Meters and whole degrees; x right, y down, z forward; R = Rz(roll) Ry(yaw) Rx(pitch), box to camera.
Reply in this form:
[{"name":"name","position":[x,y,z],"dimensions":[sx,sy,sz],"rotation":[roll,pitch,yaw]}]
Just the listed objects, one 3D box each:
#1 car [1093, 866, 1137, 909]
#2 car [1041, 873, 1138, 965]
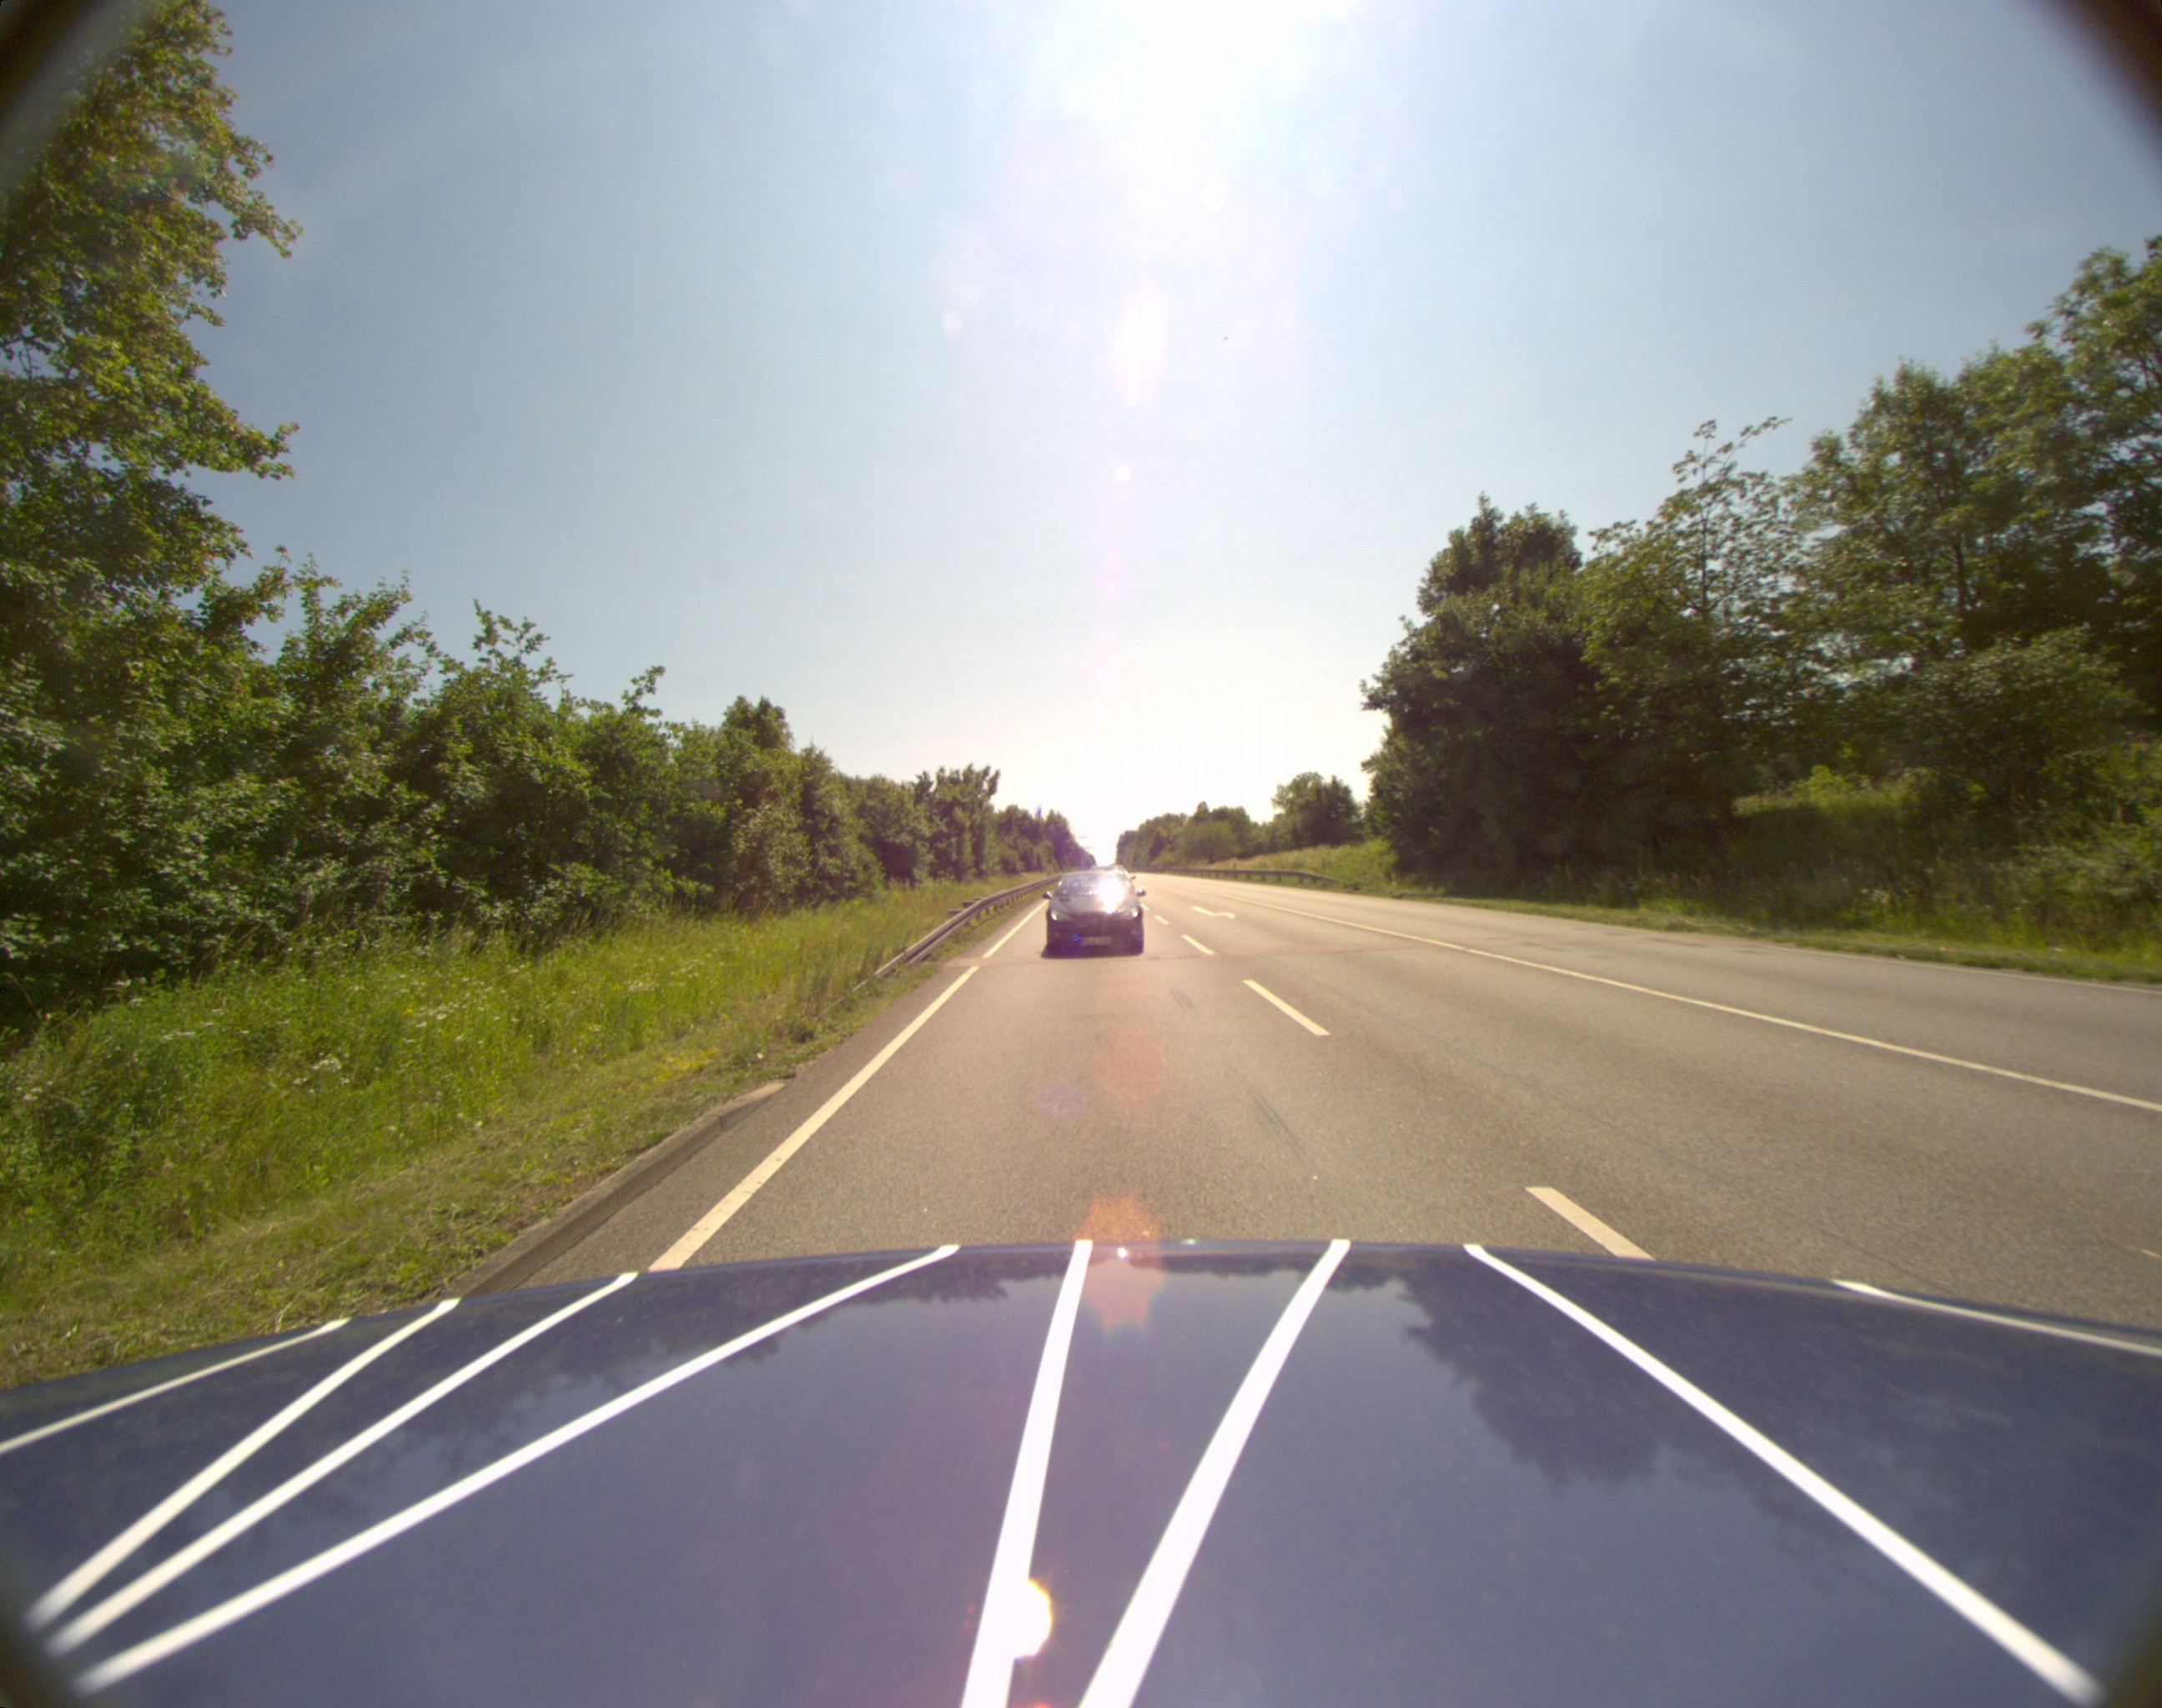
[{"name":"car","position":[1.208,1.190,27.944],"dimensions":[1.443,1.442,3.299],"rotation":[-2,-1,0]},{"name":"car","position":[0.193,1.087,13.898],"dimensions":[1.529,1.387,3.444],"rotation":[-2,0,2]}]
